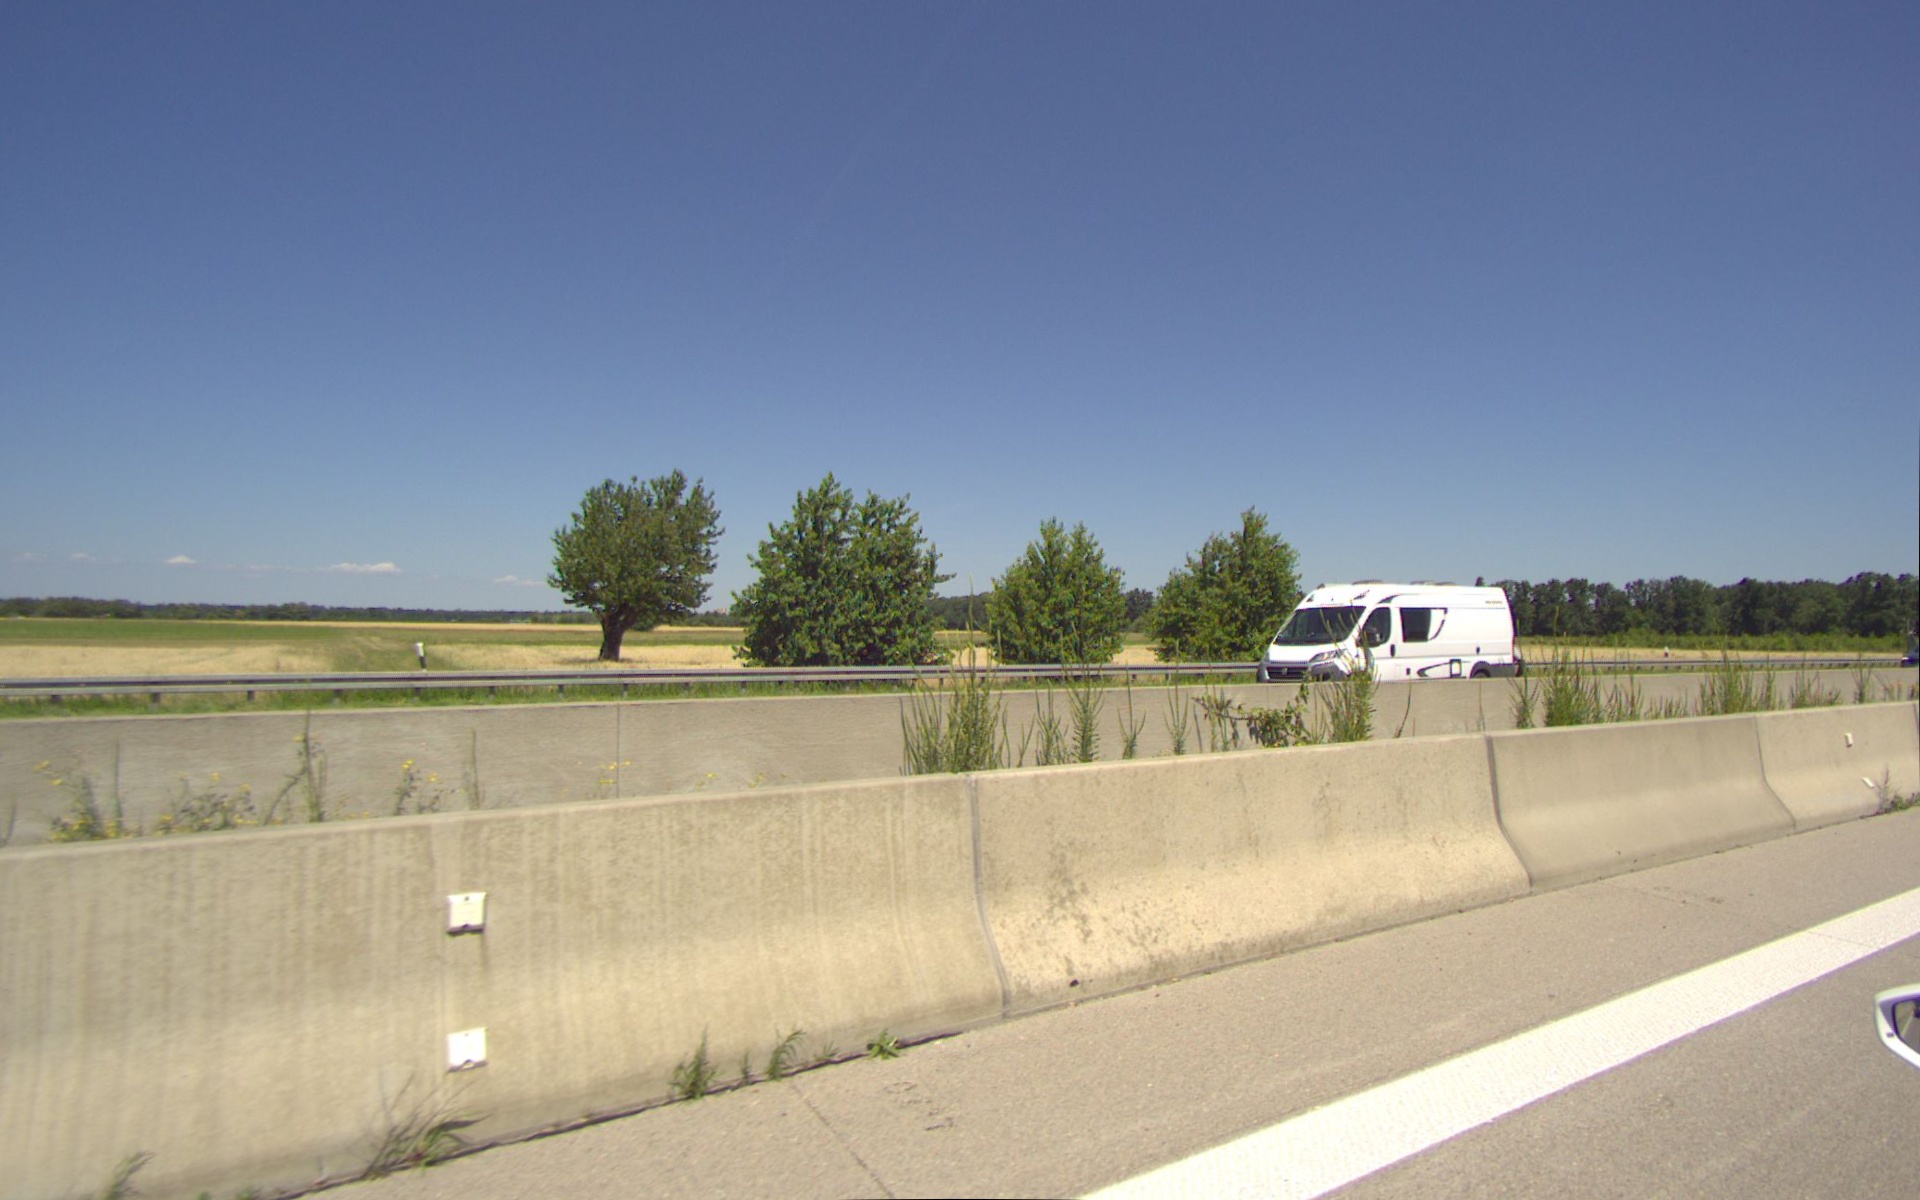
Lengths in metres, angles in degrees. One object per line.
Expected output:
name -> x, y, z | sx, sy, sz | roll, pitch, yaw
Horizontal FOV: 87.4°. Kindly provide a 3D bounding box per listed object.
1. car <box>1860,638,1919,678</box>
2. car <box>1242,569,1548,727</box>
car -> 44.641, 2.705, 47.607 | 4.789, 1.706, 1.743 | 2, 0, -33
car -> 9.155, 0.914, 20.808 | 6.994, 2.826, 2.251 | 2, 0, -33
